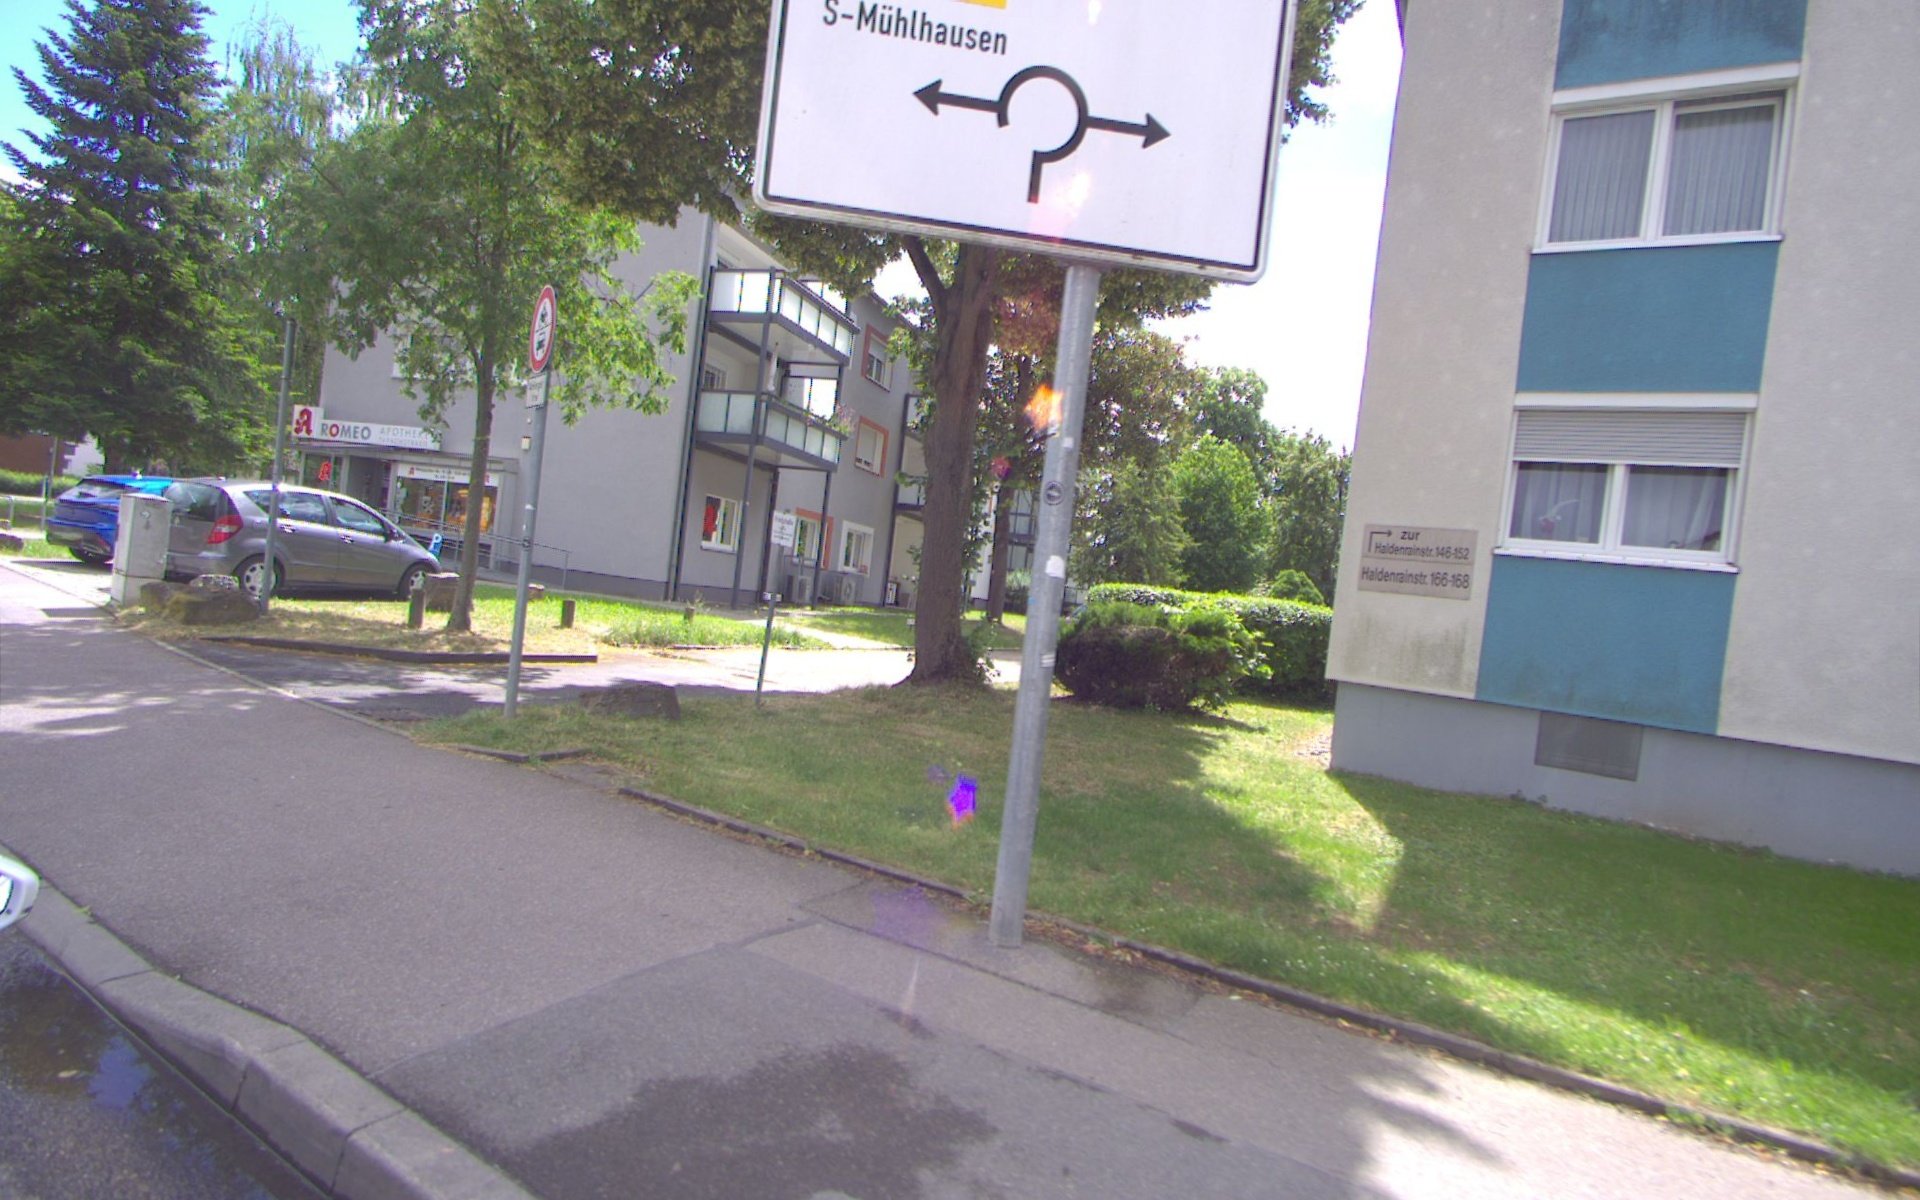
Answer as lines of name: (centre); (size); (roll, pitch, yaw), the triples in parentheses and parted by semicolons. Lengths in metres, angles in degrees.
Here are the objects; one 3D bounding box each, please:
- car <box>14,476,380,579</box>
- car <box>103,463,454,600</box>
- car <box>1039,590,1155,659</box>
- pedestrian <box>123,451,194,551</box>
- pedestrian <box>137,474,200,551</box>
car: (-12.403, -1.122, 16.775); (1.963, 1.260, 4.491); (7, 3, 19)
car: (-9.761, -0.907, 14.753); (1.994, 1.578, 3.735); (7, 3, 21)
car: (4.028, 0.754, 29.043); (1.702, 1.520, 3.875); (7, -1, 33)
pedestrian: (-17.738, -2.179, 22.257); (1.027, 2.040, 0.655); (7, 2, 20)
pedestrian: (-17.287, -1.903, 21.974); (0.679, 1.549, 0.743); (7, 2, 23)
